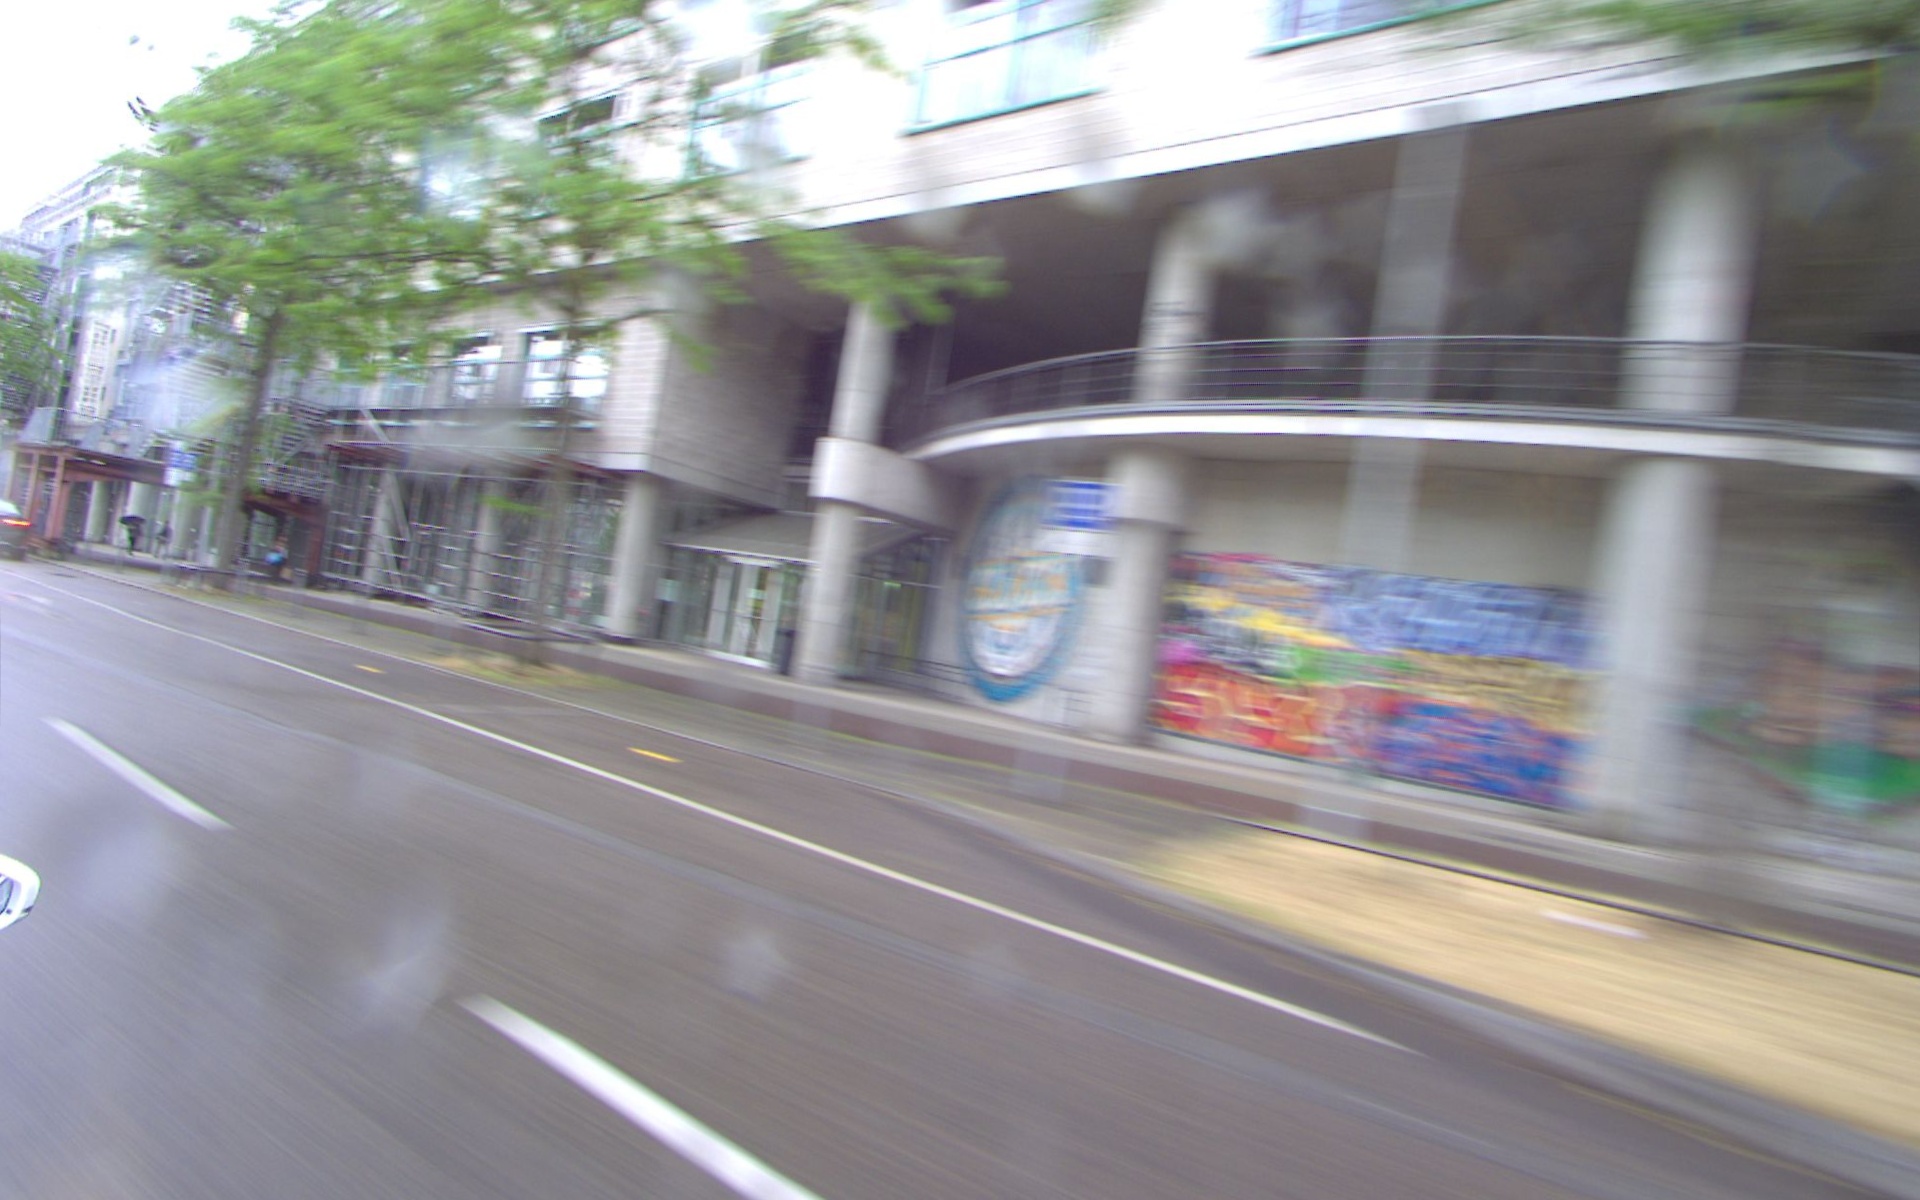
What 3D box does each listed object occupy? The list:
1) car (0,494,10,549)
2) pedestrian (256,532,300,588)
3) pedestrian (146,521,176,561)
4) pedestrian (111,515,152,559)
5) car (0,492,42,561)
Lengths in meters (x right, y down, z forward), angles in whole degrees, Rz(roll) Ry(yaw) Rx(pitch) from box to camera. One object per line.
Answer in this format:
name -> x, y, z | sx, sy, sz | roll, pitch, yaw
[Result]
car -> -31.054, -2.646, 30.852 | 4.521, 1.619, 1.863 | 7, -2, 36
pedestrian -> -21.802, -1.276, 32.165 | 0.909, 1.614, 0.705 | 7, -2, 34
pedestrian -> -34.032, -2.515, 42.829 | 0.755, 1.536, 0.680 | 7, -2, 38
pedestrian -> -34.288, -2.599, 41.638 | 1.095, 1.614, 0.820 | 7, -2, 31
car -> -26.245, -2.140, 26.656 | 5.212, 1.619, 1.994 | 6, -2, 39
